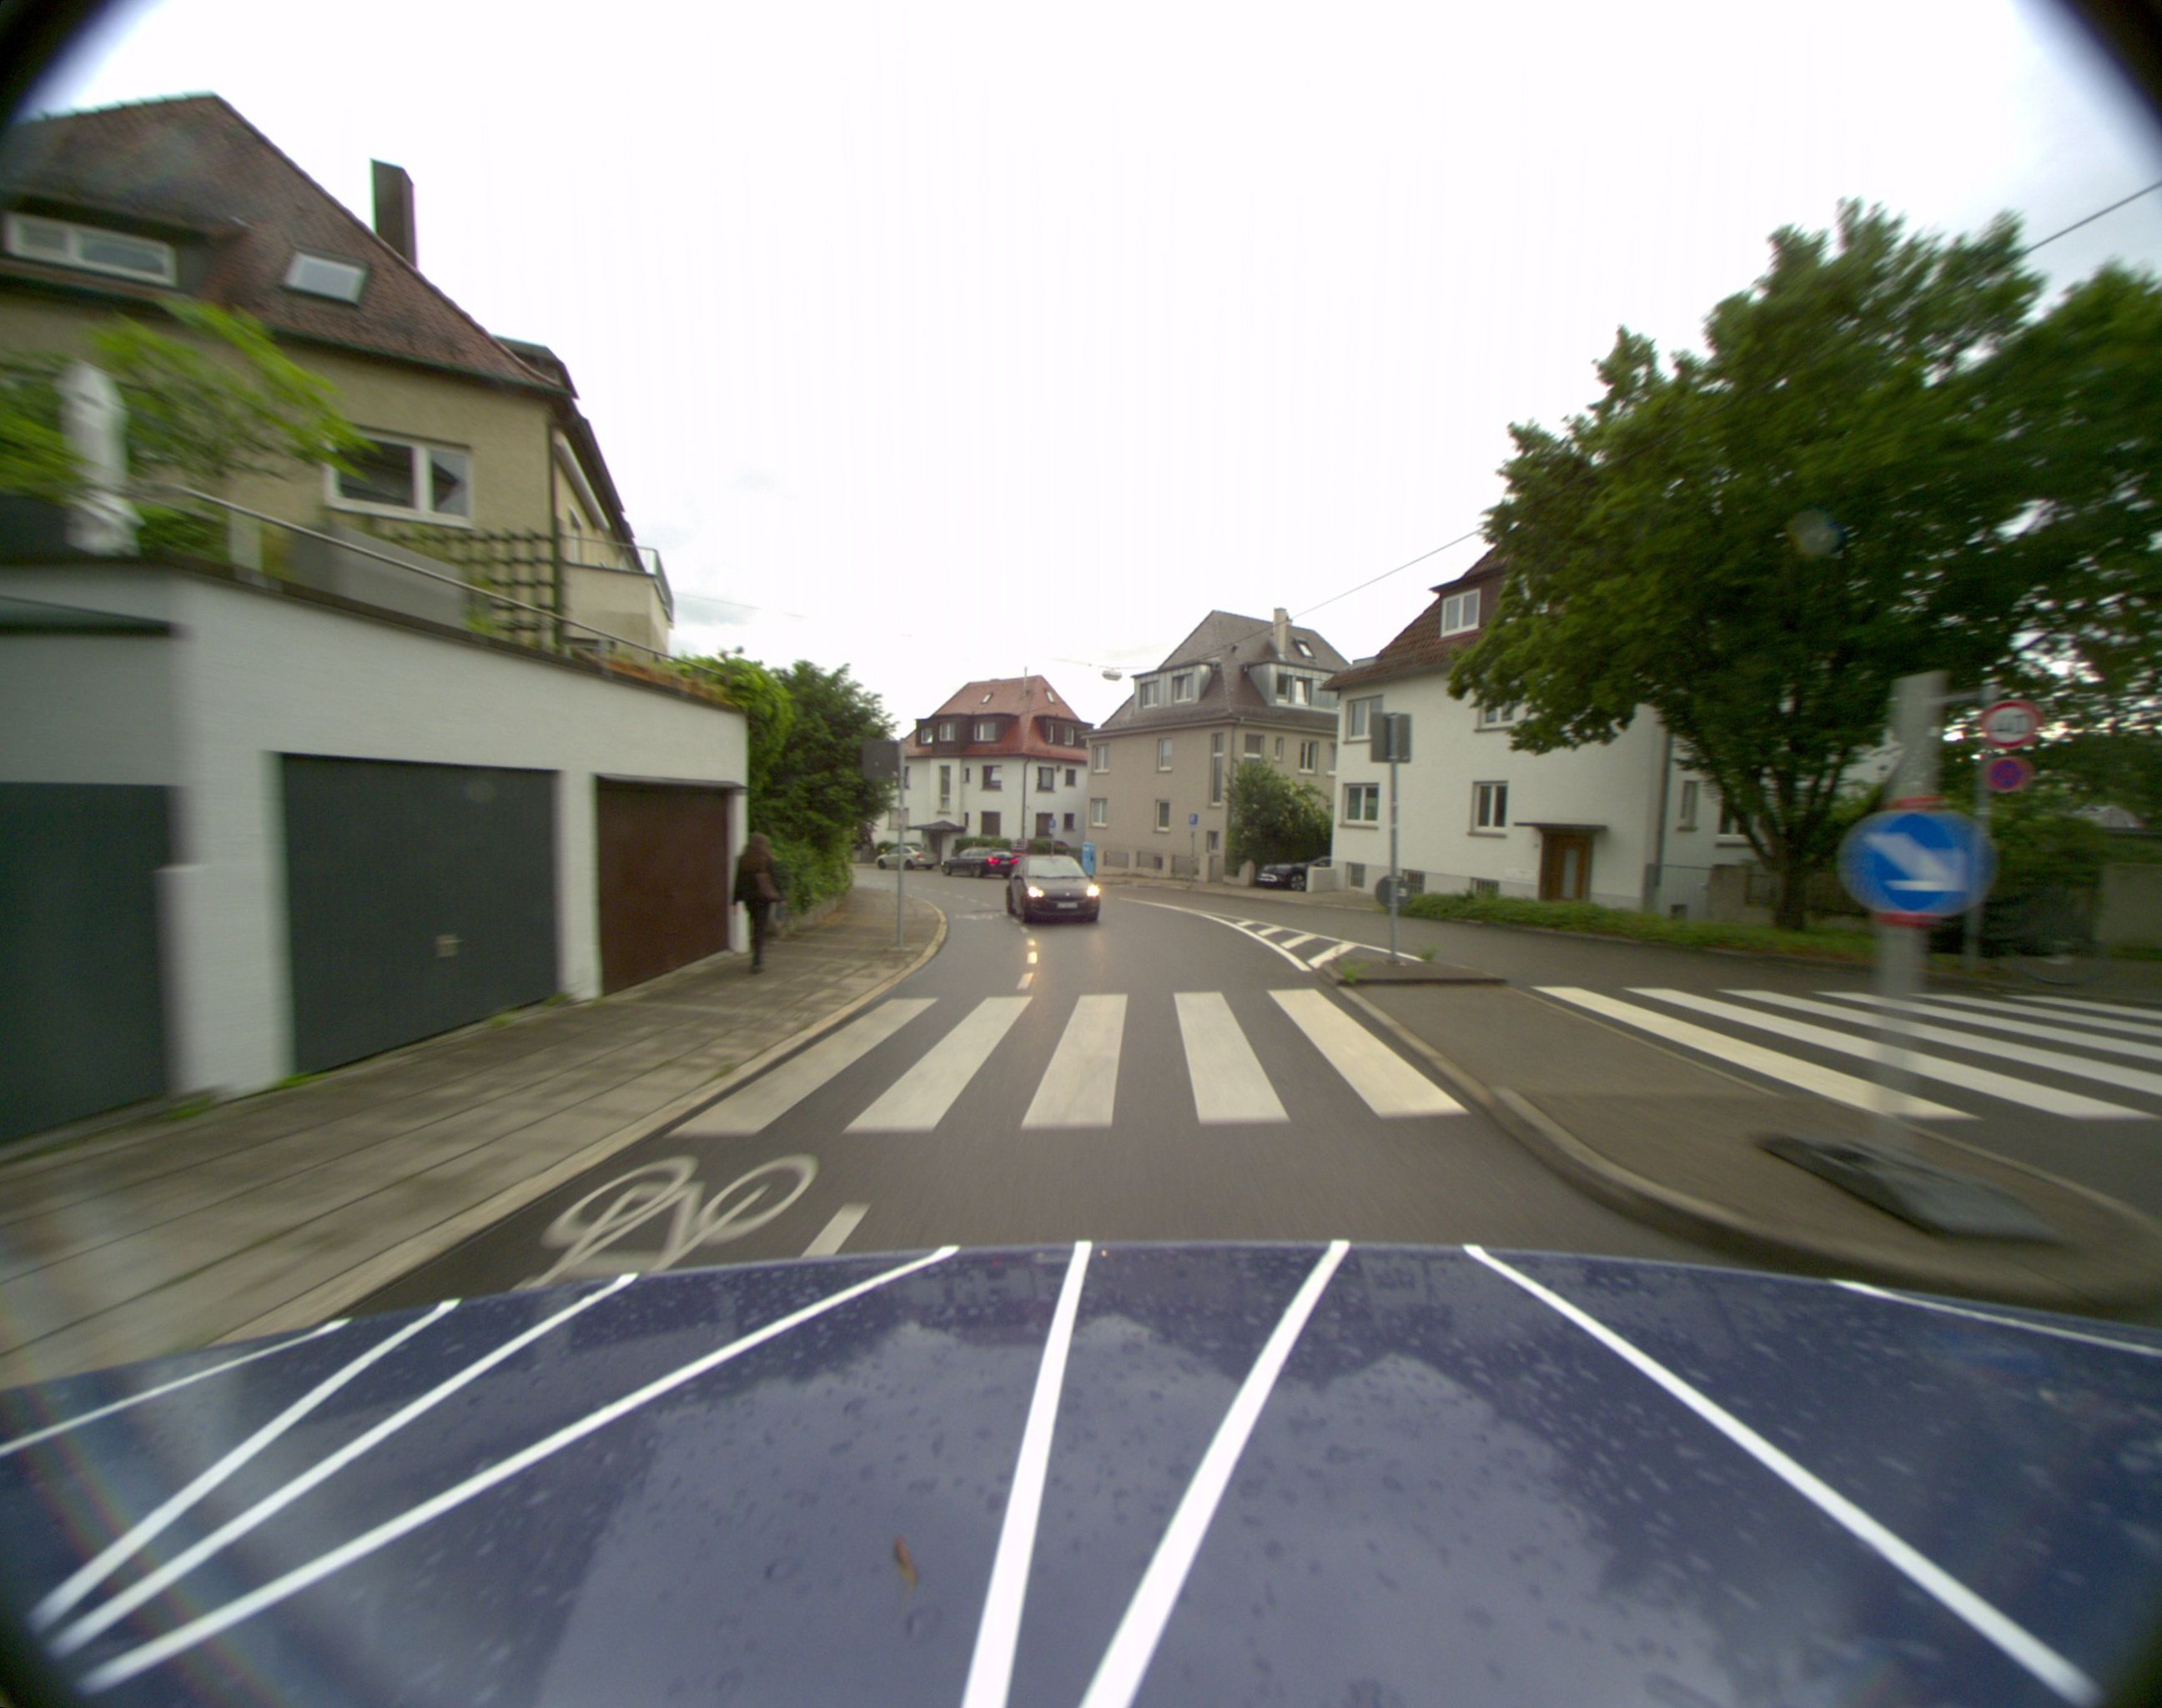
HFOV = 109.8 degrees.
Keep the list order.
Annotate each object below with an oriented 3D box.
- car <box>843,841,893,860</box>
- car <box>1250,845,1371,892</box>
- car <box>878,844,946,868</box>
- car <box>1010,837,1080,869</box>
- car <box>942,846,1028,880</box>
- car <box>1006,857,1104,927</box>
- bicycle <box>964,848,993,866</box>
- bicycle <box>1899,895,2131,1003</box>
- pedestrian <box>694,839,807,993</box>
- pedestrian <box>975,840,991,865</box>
[{"bbox_3d":[-17.519,-0.246,62.677,1.737,1.344,4.009,3,-1,25],"label":"car"},{"bbox_3d":[9.030,0.526,29.923,4.258,1.615,1.996,-2,3,-21],"label":"car"},{"bbox_3d":[-10.733,0.100,48.044,4.217,1.417,1.845,1,2,36],"label":"car"},{"bbox_3d":[-2.190,-0.045,47.126,1.994,1.812,4.009,1,-1,43],"label":"car"},{"bbox_3d":[-4.834,0.405,37.684,1.880,1.483,4.623,2,0,-42],"label":"car"},{"bbox_3d":[-0.715,0.806,17.662,1.682,1.405,3.633,-2,0,-11],"label":"car"},{"bbox_3d":[-6.532,0.186,48.394,1.916,1.061,0.458,0,4,33],"label":"bicycle"},{"bbox_3d":[11.097,1.073,9.154,0.421,1.078,1.964,-1,-1,2],"label":"bicycle"},{"bbox_3d":[-3.926,0.692,9.104,0.805,1.712,1.060,2,2,3],"label":"pedestrian"},{"bbox_3d":[-6.340,-0.088,49.065,0.492,1.569,0.949,0,4,33],"label":"pedestrian"}]
